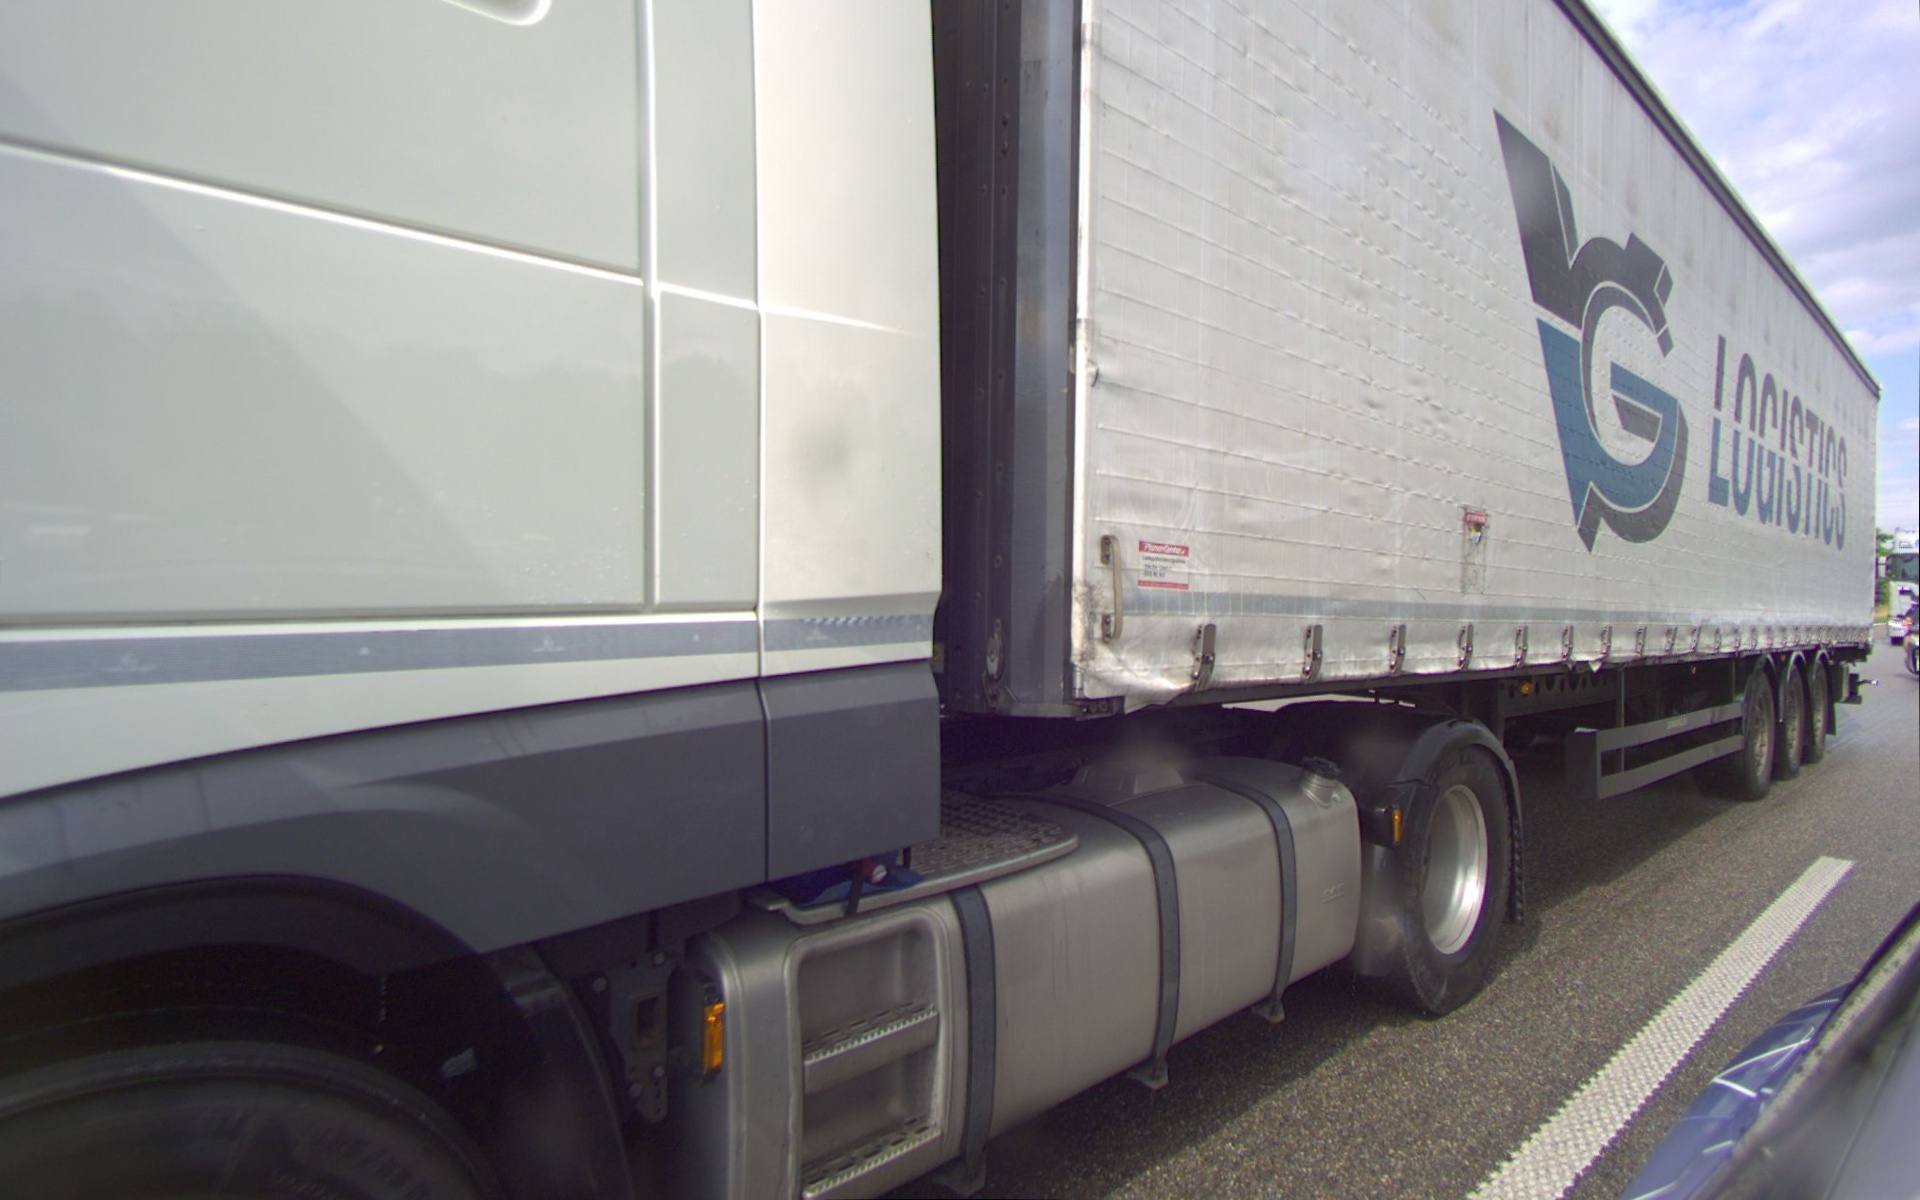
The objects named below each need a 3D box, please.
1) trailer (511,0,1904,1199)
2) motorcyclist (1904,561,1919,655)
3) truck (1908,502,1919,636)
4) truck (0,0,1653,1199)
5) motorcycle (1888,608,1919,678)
[{"bbox_3d":[4.281,-0.632,7.810,13.887,3.948,3.288,0,0,-42],"label":"trailer"},{"bbox_3d":[18.223,0.142,18.857,0.984,1.727,0.882,-1,0,-44],"label":"motorcyclist"},{"bbox_3d":[34.104,-1.037,34.322,6.773,4.328,2.644,-1,1,-45],"label":"truck"},{"bbox_3d":[-0.527,-0.608,3.335,6.287,3.940,3.288,0,0,-42],"label":"truck"},{"bbox_3d":[18.156,0.770,18.833,3.143,1.163,1.185,-1,1,-45],"label":"motorcycle"}]
